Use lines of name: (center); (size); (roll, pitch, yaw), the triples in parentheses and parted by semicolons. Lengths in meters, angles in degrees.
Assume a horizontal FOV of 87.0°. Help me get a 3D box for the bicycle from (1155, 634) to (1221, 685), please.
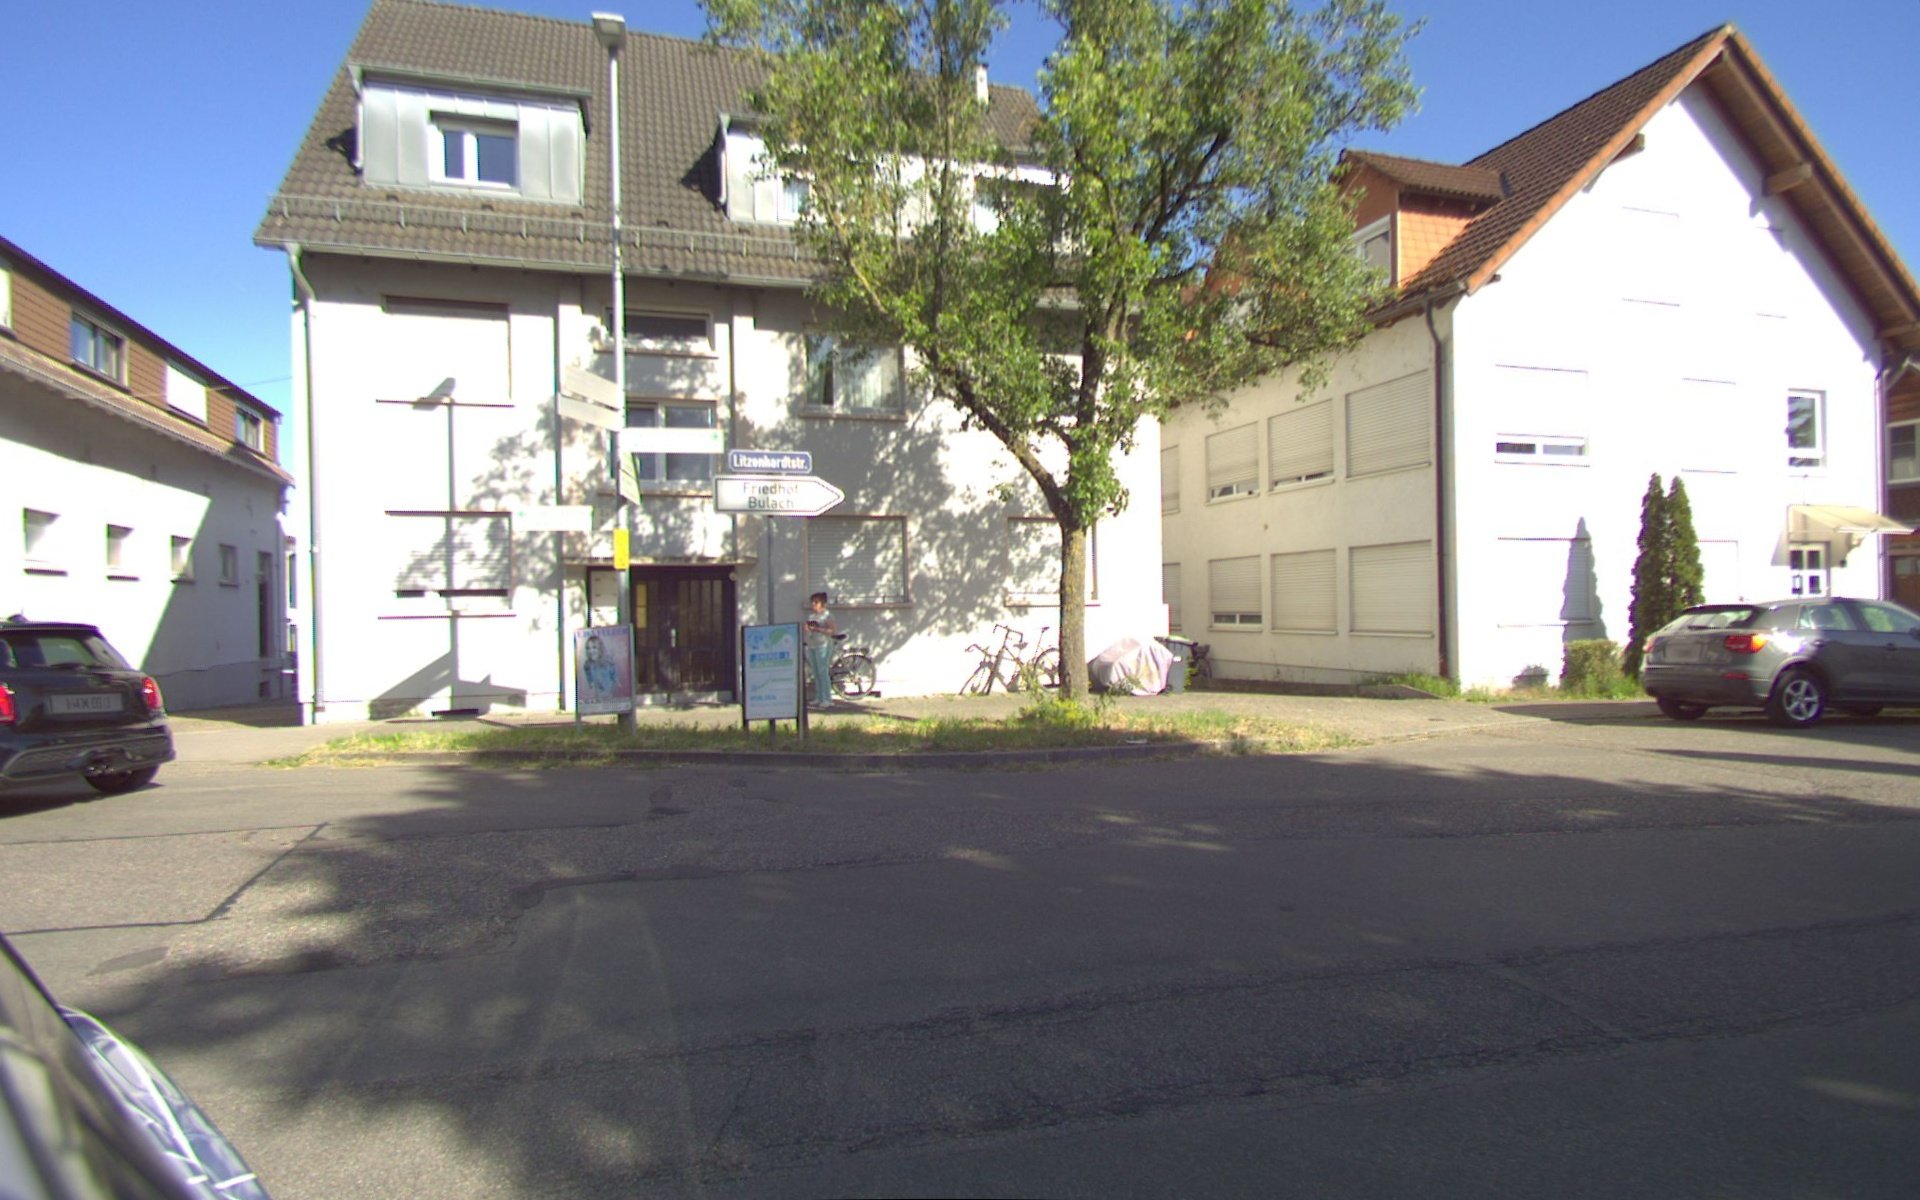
bicycle: (4.991, 1.284, 22.255); (0.570, 1.060, 2.041); (1, -2, -13)

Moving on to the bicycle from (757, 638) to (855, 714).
bicycle: (-2.226, 1.091, 14.633); (1.358, 1.060, 0.425); (1, -2, -13)

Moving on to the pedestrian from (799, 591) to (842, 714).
pedestrian: (-1.970, 0.732, 14.252); (0.548, 1.705, 0.486); (1, -1, -10)

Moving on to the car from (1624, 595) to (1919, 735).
car: (10.533, 0.717, 12.062); (4.044, 1.517, 1.876); (0, -1, -5)

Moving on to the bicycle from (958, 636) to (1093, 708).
bicycle: (0.997, 1.097, 15.587); (2.004, 1.060, 0.581); (0, -2, -7)

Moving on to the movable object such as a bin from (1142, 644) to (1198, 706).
movable object such as a bin: (3.374, 1.200, 16.312); (0.649, 0.952, 0.629); (1, -1, -19)

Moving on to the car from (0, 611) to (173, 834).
car: (-8.337, 0.870, 7.462); (3.950, 1.489, 1.663); (-1, -1, 5)
